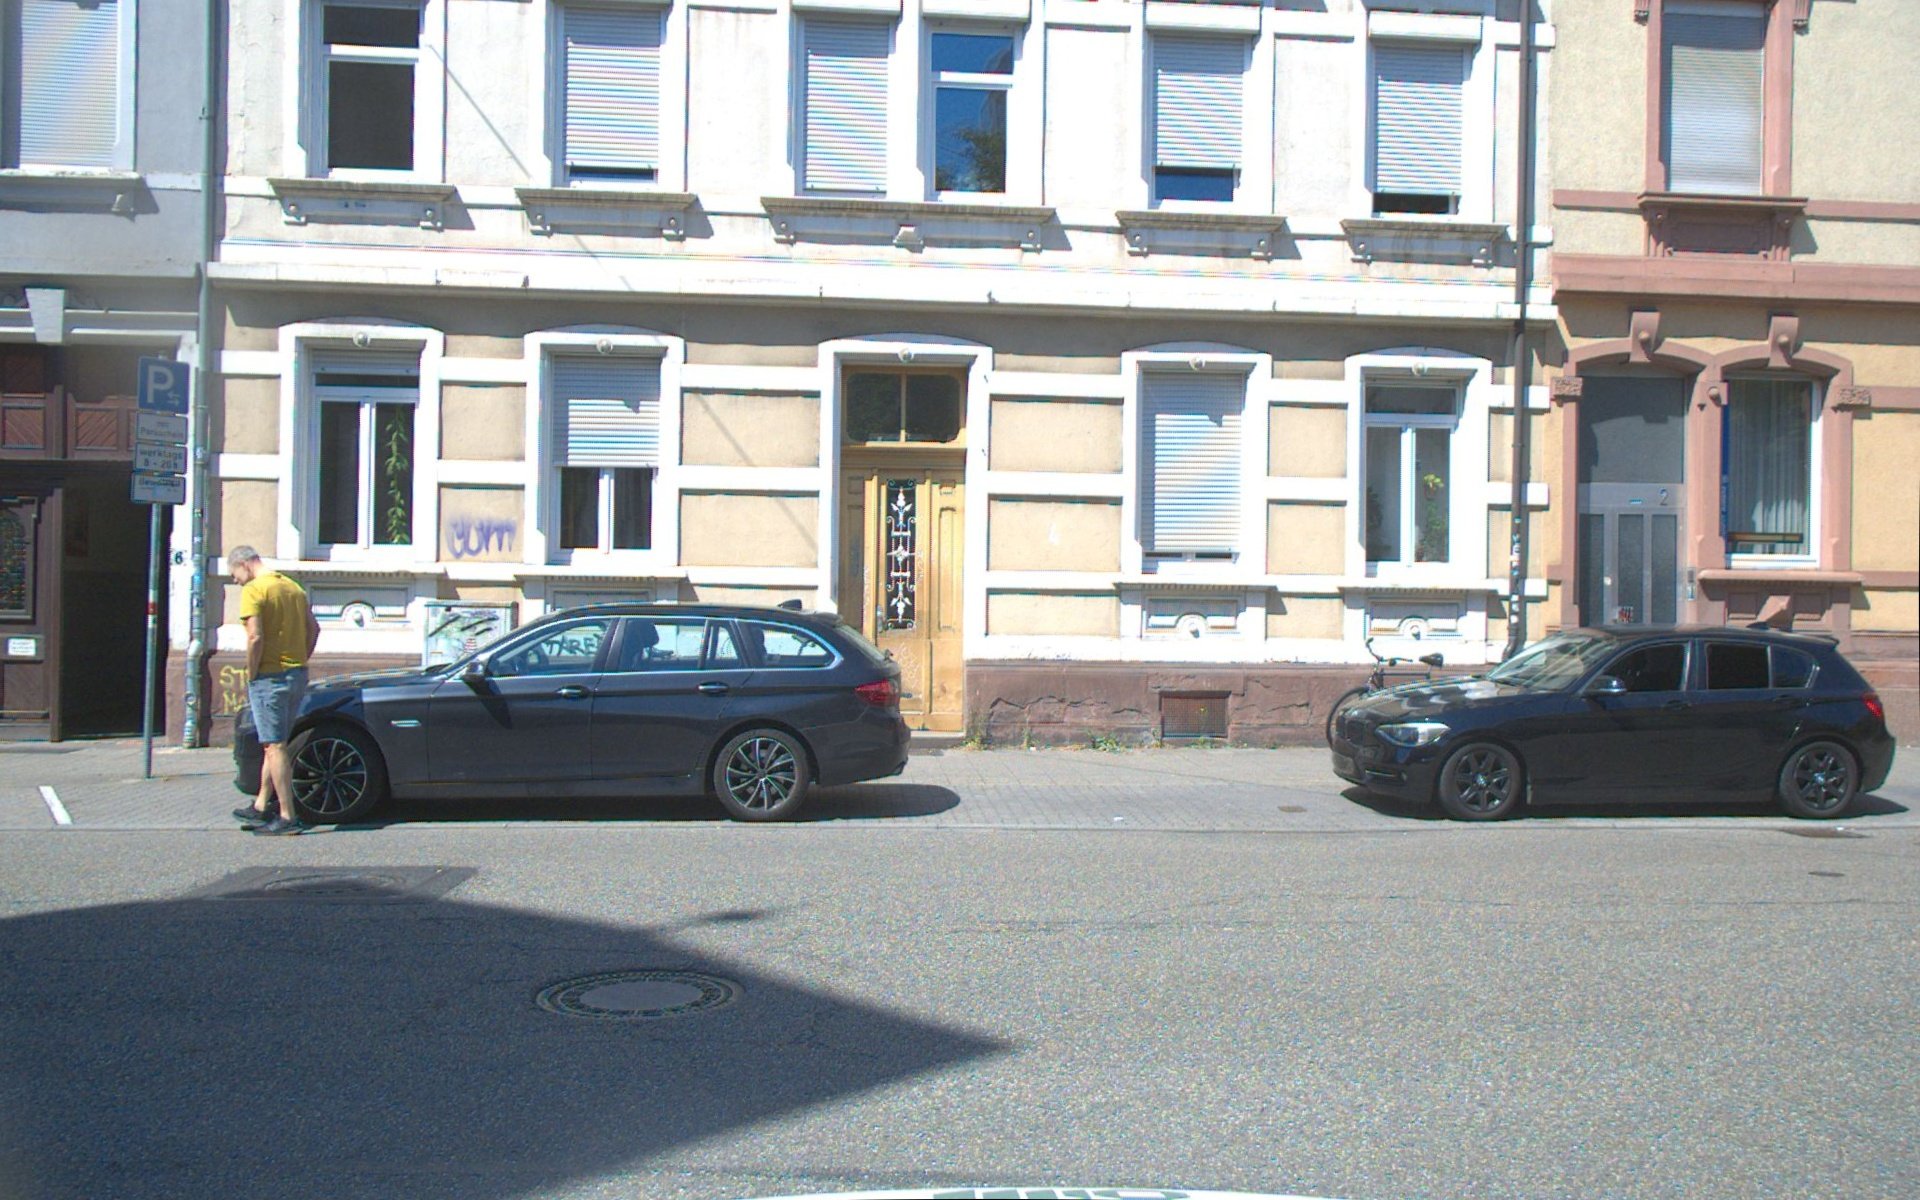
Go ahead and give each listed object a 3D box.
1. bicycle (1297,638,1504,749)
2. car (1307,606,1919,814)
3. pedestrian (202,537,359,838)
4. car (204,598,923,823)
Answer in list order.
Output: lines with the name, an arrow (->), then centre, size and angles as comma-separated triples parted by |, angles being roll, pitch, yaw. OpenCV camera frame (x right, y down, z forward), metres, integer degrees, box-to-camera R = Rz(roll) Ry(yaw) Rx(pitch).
bicycle -> 4.379, 0.922, 16.462 | 1.966, 1.039, 0.423 | 0, 2, -7
car -> 5.038, 0.796, 12.950 | 4.210, 1.394, 1.806 | 0, 2, -5
pedestrian -> -4.397, 0.551, 10.742 | 0.709, 1.886, 0.685 | 0, -1, 3
car -> -2.708, 0.735, 12.158 | 4.764, 1.462, 1.998 | 0, 0, -5
